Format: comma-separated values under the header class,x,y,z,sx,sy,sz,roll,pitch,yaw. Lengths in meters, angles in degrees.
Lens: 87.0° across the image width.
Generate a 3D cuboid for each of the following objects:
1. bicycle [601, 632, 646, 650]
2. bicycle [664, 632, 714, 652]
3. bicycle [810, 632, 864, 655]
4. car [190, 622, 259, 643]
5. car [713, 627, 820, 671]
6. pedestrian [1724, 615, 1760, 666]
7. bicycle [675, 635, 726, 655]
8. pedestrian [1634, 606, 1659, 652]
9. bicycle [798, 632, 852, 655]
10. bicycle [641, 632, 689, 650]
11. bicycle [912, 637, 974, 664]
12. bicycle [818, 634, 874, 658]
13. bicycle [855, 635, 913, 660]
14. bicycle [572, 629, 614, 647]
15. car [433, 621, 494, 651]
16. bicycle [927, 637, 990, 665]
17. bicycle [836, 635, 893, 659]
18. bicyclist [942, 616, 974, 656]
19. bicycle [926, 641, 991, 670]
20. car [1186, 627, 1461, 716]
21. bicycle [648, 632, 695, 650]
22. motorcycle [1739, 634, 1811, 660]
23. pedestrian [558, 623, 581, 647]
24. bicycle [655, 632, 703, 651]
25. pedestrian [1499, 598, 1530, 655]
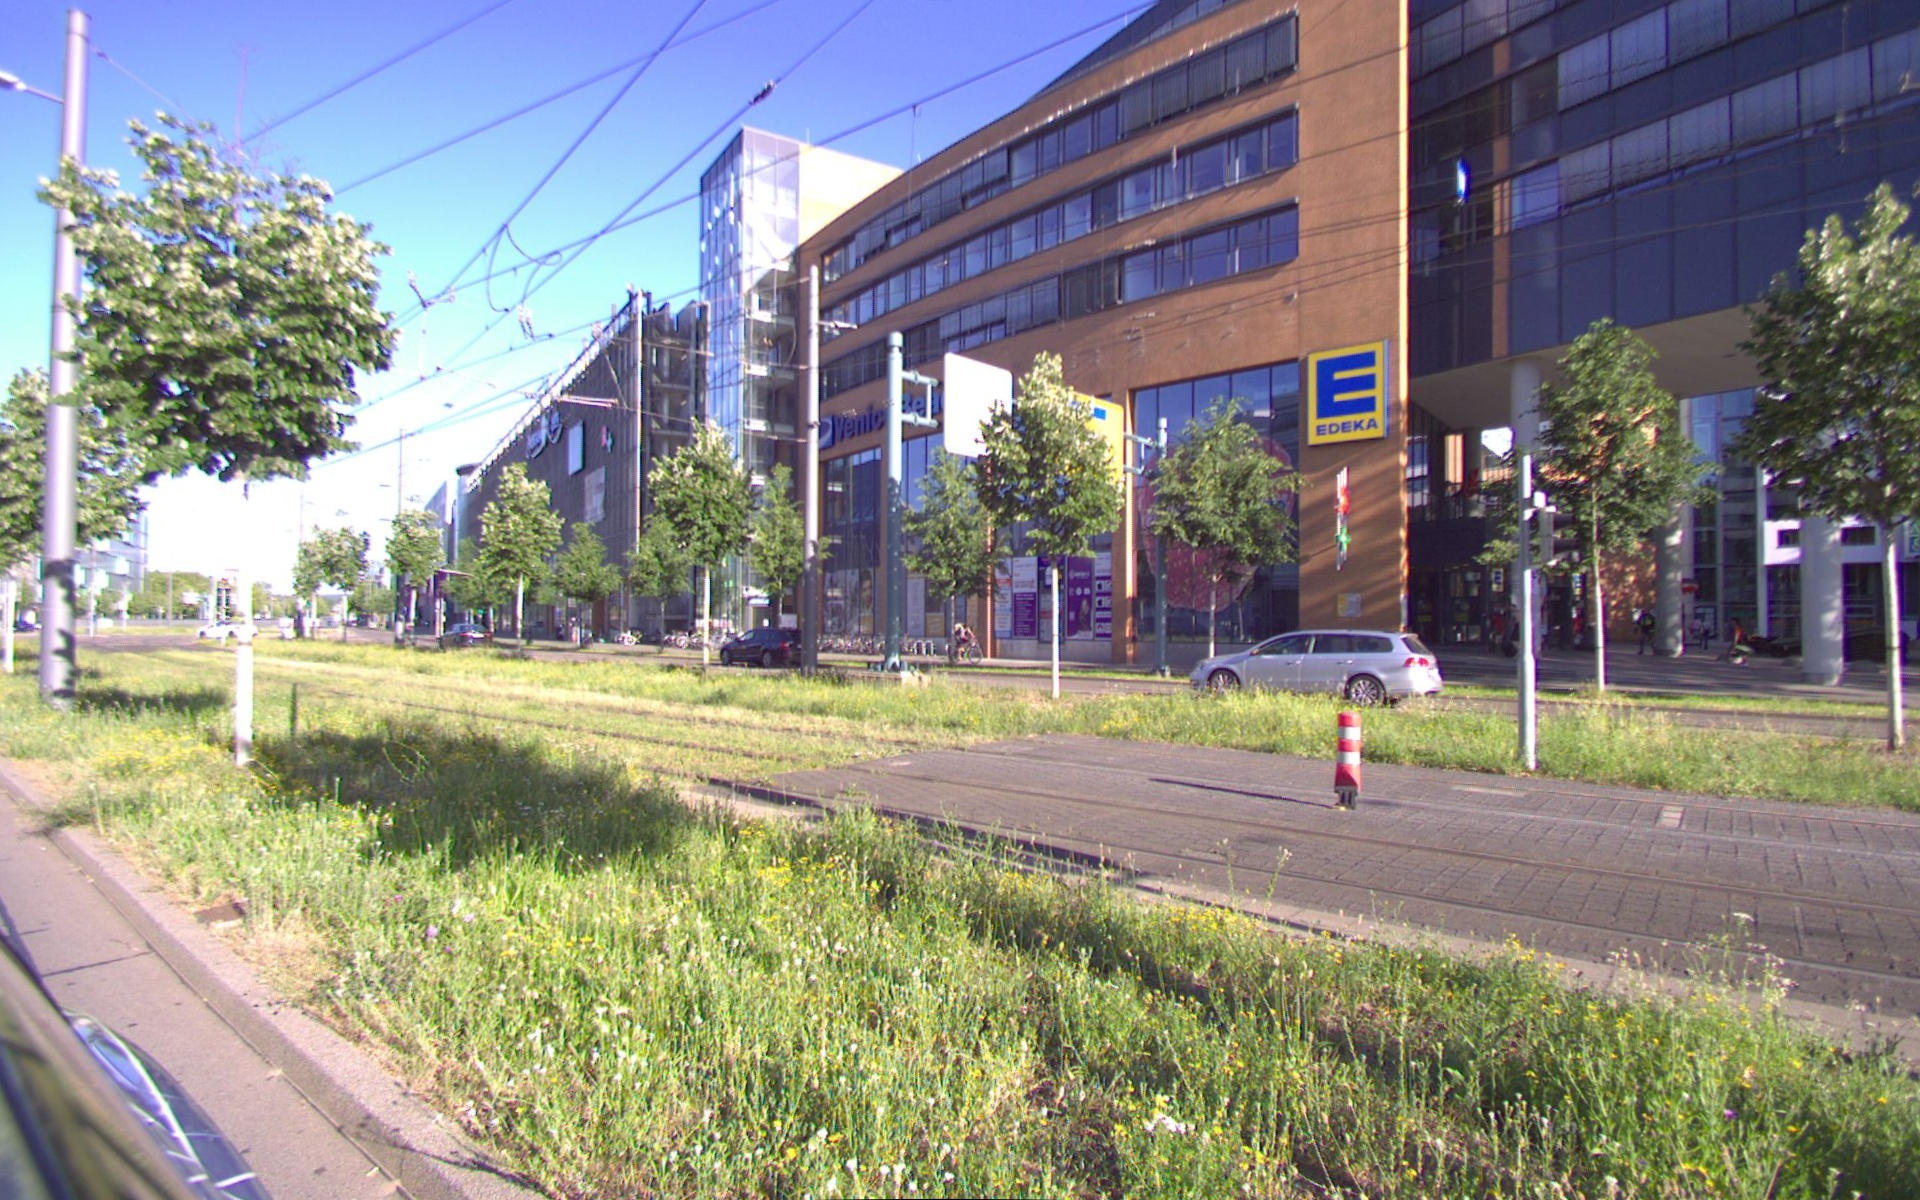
class,x,y,z,sx,sy,sz,roll,pitch,yaw
bicycle,-21.974,2.661,66.036,2.648,1.112,0.897,1,-3,-39
bicycle,-15.815,2.459,59.119,2.648,1.112,0.897,1,-3,-39
bicycle,-6.142,2.186,50.601,2.648,1.112,0.897,1,-3,-39
car,-56.403,2.486,77.640,4.306,1.539,1.674,0,-2,9
car,-7.288,1.815,37.919,4.354,1.539,1.605,-1,-3,42
pedestrian,25.352,1.295,32.818,0.688,1.635,0.735,1,-2,-37
bicycle,-14.735,2.523,57.490,2.648,1.112,0.897,1,-3,-39
pedestrian,25.867,1.096,38.116,0.698,1.718,0.724,-1,-2,40
bicycle,-6.870,2.198,51.538,2.648,1.112,0.897,1,-3,-39
bicycle,-18.073,2.493,61.999,2.648,1.112,0.897,1,-3,-39
bicycle,-0.710,2.163,43.423,2.648,1.112,0.897,1,-3,-39
bicycle,-5.538,2.230,49.412,2.648,1.112,0.897,1,-3,-39
bicycle,-3.537,2.204,47.169,2.648,1.112,0.897,1,-3,-39
bicycle,-25.559,2.637,70.505,2.648,1.198,0.897,1,-3,-39
car,-26.667,1.944,54.278,4.357,1.539,1.603,-2,-3,45
bicycle,-0.056,2.129,42.604,2.648,1.112,0.897,1,-3,-39
bicycle,-4.506,2.217,48.095,2.648,1.112,0.897,1,-3,-39
bicyclist,-0.082,1.413,39.984,0.939,1.560,0.883,-2,-3,41
bicycle,-0.076,2.170,39.958,2.691,1.112,0.883,-2,-3,42
car,6.959,1.297,19.640,4.791,1.539,1.608,-1,-2,34
bicycle,-17.458,2.481,61.316,2.648,1.112,0.827,1,-3,-39
motorcycle,35.709,2.045,44.372,0.819,1.066,2.347,1,-2,-40
pedestrian,-27.686,2.464,71.802,1.093,1.694,1.059,-1,-2,35
bicycle,-16.819,2.472,60.562,2.648,1.112,0.897,1,-3,-39
pedestrian,16.933,0.811,30.896,0.698,1.718,0.724,-1,-2,40
